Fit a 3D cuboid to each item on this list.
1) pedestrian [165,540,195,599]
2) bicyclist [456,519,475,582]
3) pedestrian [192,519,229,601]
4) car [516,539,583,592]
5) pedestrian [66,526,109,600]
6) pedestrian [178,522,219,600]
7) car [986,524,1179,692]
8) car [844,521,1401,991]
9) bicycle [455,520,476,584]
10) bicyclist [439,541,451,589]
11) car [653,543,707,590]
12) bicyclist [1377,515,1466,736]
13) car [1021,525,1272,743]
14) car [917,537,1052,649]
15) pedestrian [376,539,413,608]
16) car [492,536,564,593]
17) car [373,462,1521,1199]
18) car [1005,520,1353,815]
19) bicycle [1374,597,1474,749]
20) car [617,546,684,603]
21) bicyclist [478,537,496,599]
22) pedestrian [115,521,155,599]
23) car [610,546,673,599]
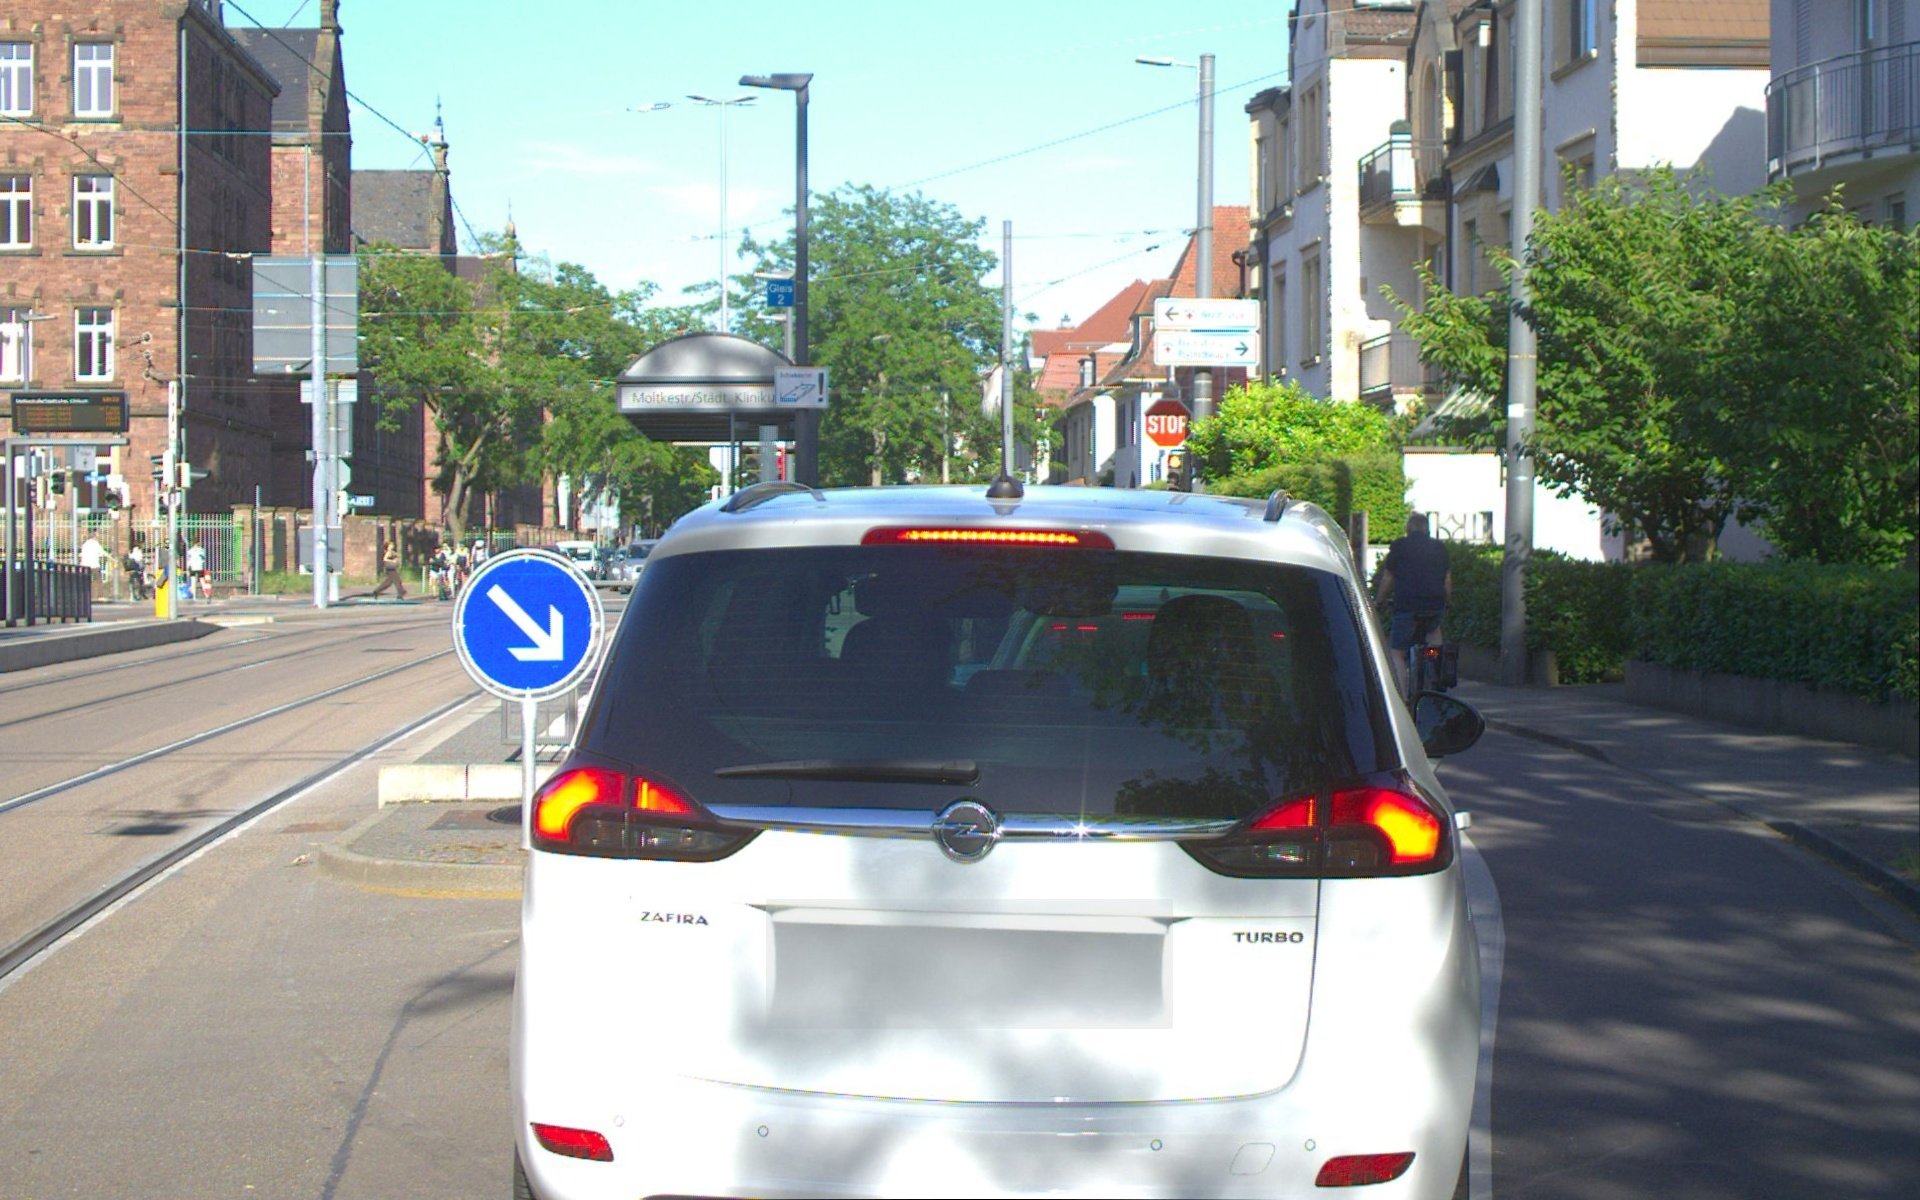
[{"bbox_3d":[-21.619,-0.845,95.286,0.654,1.606,0.711,1,0,2],"label":"pedestrian"},{"bbox_3d":[-15.679,-1.563,109.016,0.498,2.007,0.572,0,1,-1],"label":"bicyclist"},{"bbox_3d":[-18.529,-0.986,84.973,0.794,2.007,0.721,1,0,-17],"label":"pedestrian"},{"bbox_3d":[-13.554,-1.134,113.711,1.746,1.710,4.000,1,1,-1],"label":"car"},{"bbox_3d":[-22.580,-0.963,89.007,0.808,1.894,0.743,1,0,14],"label":"pedestrian"},{"bbox_3d":[-19.713,-1.014,88.967,0.795,2.007,0.720,1,0,-37],"label":"pedestrian"},{"bbox_3d":[1.243,0.043,36.110,1.907,1.656,4.000,0,1,1],"label":"car"},{"bbox_3d":[0.782,0.493,13.773,1.907,1.592,3.999,0,1,7],"label":"car"},{"bbox_3d":[-15.682,-1.514,108.993,0.487,2.007,1.405,0,1,0],"label":"bicycle"},{"bbox_3d":[-15.427,-1.046,103.041,0.313,1.439,0.384,0,1,-1],"label":"bicyclist"},{"bbox_3d":[-10.490,-1.271,129.068,1.746,1.710,4.000,1,1,-1],"label":"car"},{"bbox_3d":[3.563,0.184,26.590,0.616,1.681,0.779,0,1,4],"label":"bicyclist"},{"bbox_3d":[1.567,0.222,28.273,1.907,1.656,4.000,0,1,4],"label":"car"},{"bbox_3d":[0.338,-0.139,53.088,1.907,1.656,4.001,0,1,-2],"label":"car"},{"bbox_3d":[-15.801,-0.738,95.979,0.741,1.894,0.810,1,0,-32],"label":"pedestrian"},{"bbox_3d":[-13.428,-1.100,107.043,1.746,1.710,4.000,1,1,-1],"label":"car"},{"bbox_3d":[0.191,0.564,7.671,1.907,1.656,3.999,0,1,7],"label":"car"},{"bbox_3d":[1.430,0.333,20.996,1.907,1.619,3.999,0,1,7],"label":"car"},{"bbox_3d":[3.569,0.542,26.577,0.624,1.093,1.973,0,1,4],"label":"bicycle"},{"bbox_3d":[-9.641,-0.799,107.360,1.746,1.710,4.000,1,1,-1],"label":"car"},{"bbox_3d":[-15.391,-1.036,111.926,0.488,2.007,0.502,1,0,-1],"label":"bicyclist"},{"bbox_3d":[-21.199,-1.029,88.344,0.795,2.007,0.720,1,0,-34],"label":"pedestrian"},{"bbox_3d":[-10.653,-0.927,115.217,1.746,1.710,4.000,1,1,-1],"label":"car"}]
